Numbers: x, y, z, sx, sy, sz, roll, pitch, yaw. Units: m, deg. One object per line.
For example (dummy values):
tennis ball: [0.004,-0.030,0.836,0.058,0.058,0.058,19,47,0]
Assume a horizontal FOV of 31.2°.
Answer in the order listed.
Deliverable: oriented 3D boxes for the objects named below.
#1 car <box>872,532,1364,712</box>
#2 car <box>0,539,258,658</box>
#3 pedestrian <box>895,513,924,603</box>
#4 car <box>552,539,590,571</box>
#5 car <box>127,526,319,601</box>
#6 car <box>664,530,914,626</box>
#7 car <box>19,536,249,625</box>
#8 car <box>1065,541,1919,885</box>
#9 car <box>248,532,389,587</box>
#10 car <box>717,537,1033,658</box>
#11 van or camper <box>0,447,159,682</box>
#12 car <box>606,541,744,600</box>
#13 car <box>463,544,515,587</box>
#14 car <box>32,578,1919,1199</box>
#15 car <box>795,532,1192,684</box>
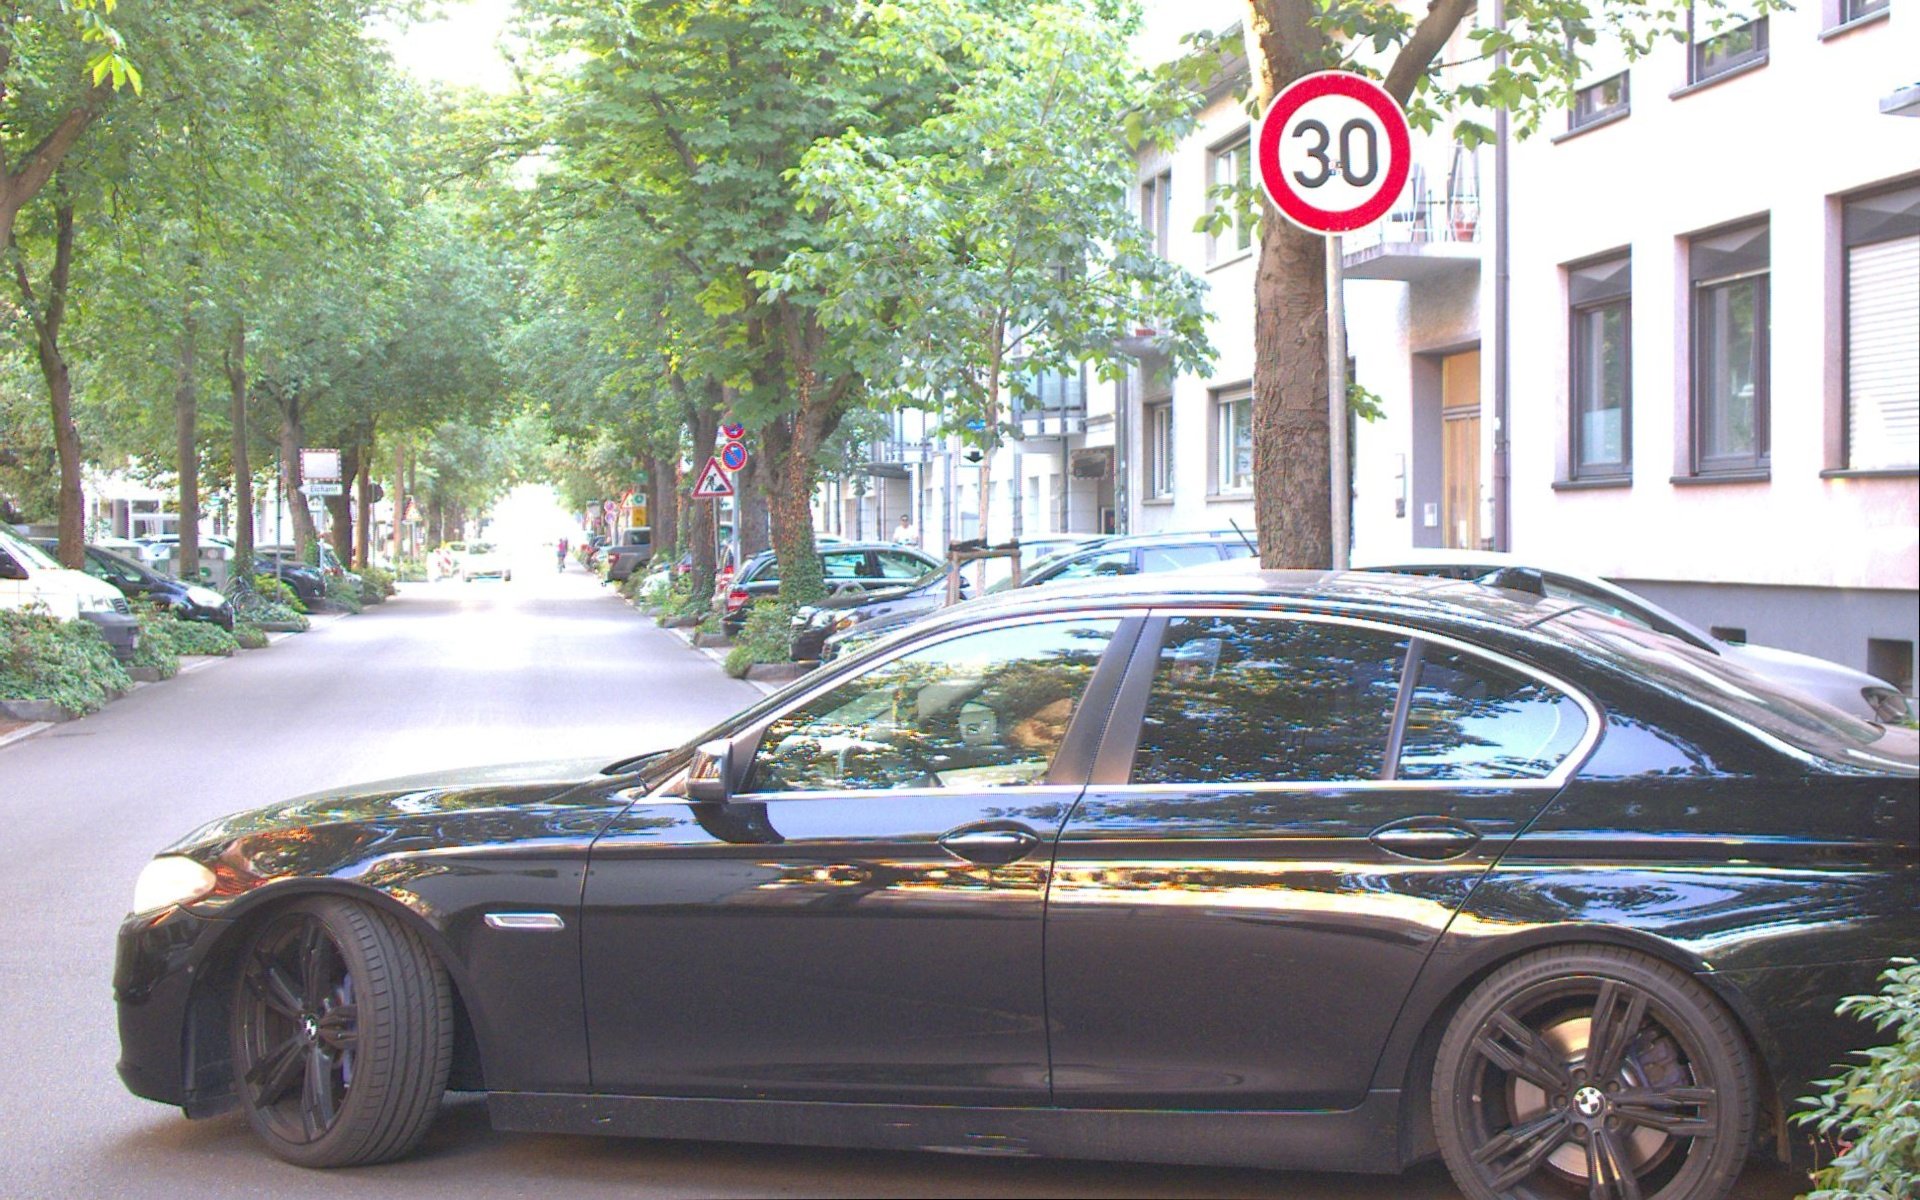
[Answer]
car: [1.322,0.160,29.691,3.967,1.471,1.785,-1,1,-8]
car: [-11.929,-0.038,48.045,3.967,1.614,1.785,0,1,-6]
pedestrian: [-1.136,-0.947,76.968,0.589,2.007,0.669,0,1,-5]
car: [-19.434,-2.246,171.900,1.822,1.525,4.001,-1,1,-6]
car: [-16.300,-0.811,76.163,3.967,1.614,1.785,0,1,-5]
car: [-2.852,-0.379,56.826,3.967,1.522,1.785,-1,1,-8]
car: [-15.468,-0.380,64.510,3.967,1.614,1.785,0,1,-5]
car: [2.564,0.474,16.078,3.908,1.471,1.665,-1,1,-8]
car: [-19.149,-1.226,102.741,3.967,1.614,1.785,0,1,-5]
car: [-1.136,-0.049,44.962,3.967,1.522,1.785,0,1,-7]
van or camper: [-11.132,-0.384,37.047,4.662,2.470,2.000,0,1,-7]
car: [-8.356,-0.879,100.778,3.967,1.678,1.785,0,1,-5]
car: [-17.614,-1.290,128.757,1.779,1.557,4.169,0,1,-6]
car: [0.338,0.696,8.343,4.749,1.475,1.799,0,1,16]
car: [0.316,0.062,36.152,3.967,1.522,1.785,0,1,-7]
